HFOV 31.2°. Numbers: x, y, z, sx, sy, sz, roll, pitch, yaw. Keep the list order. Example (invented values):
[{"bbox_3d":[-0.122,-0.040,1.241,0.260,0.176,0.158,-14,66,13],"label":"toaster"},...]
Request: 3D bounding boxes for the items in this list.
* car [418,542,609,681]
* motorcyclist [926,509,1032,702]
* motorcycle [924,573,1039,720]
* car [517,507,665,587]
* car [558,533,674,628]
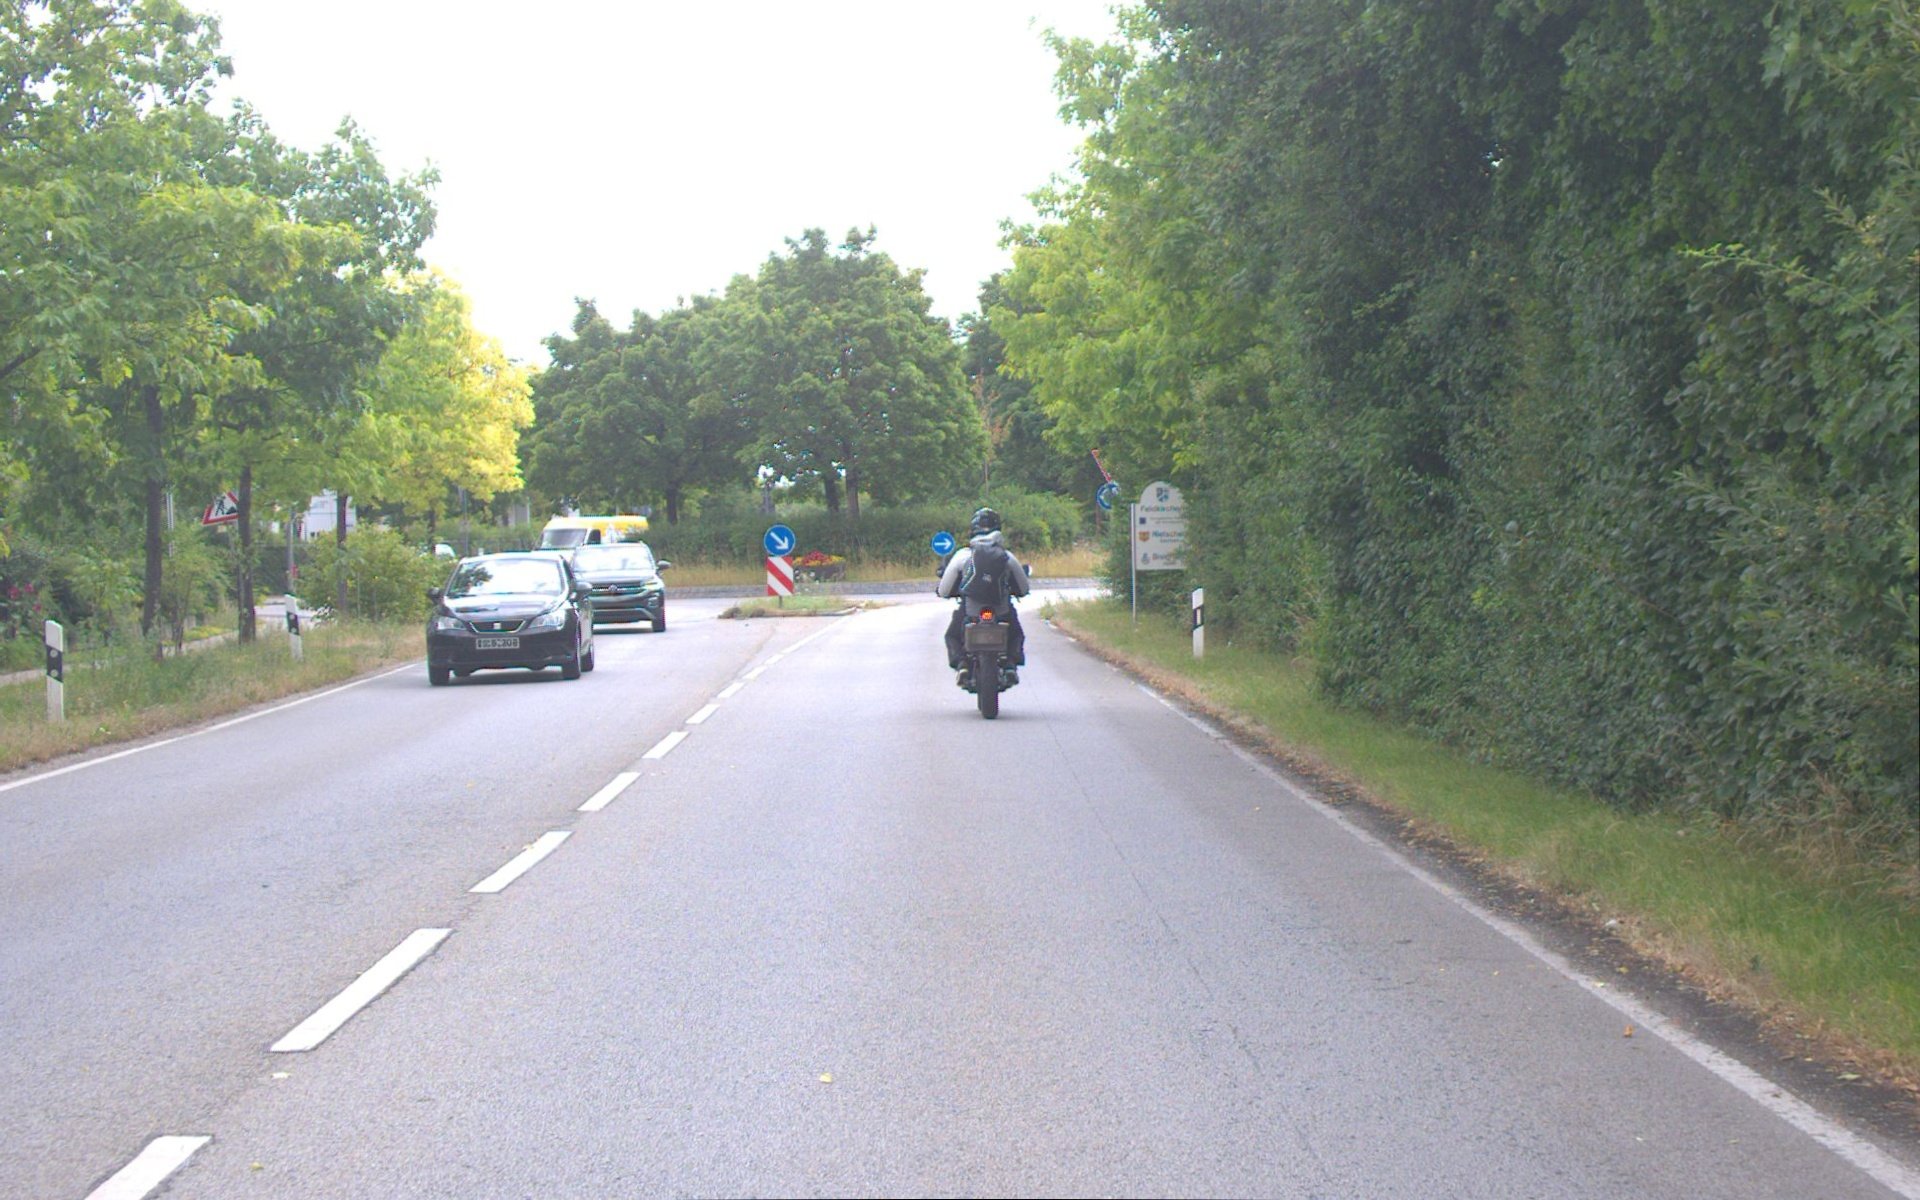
[{"bbox_3d":[-5.035,0.091,39.234,1.676,1.406,4.013,-3,1,-1],"label":"car"},{"bbox_3d":[0.155,0.035,29.543,0.861,1.618,1.191,-1,1,-1],"label":"motorcyclist"},{"bbox_3d":[0.162,0.370,29.437,0.896,1.154,2.620,-1,1,-1],"label":"motorcycle"},{"bbox_3d":[-11.994,-1.755,112.111,2.165,2.443,5.435,-1,2,26],"label":"car"},{"bbox_3d":[-5.951,-0.371,59.859,1.733,1.529,4.096,-2,1,-3],"label":"car"}]
